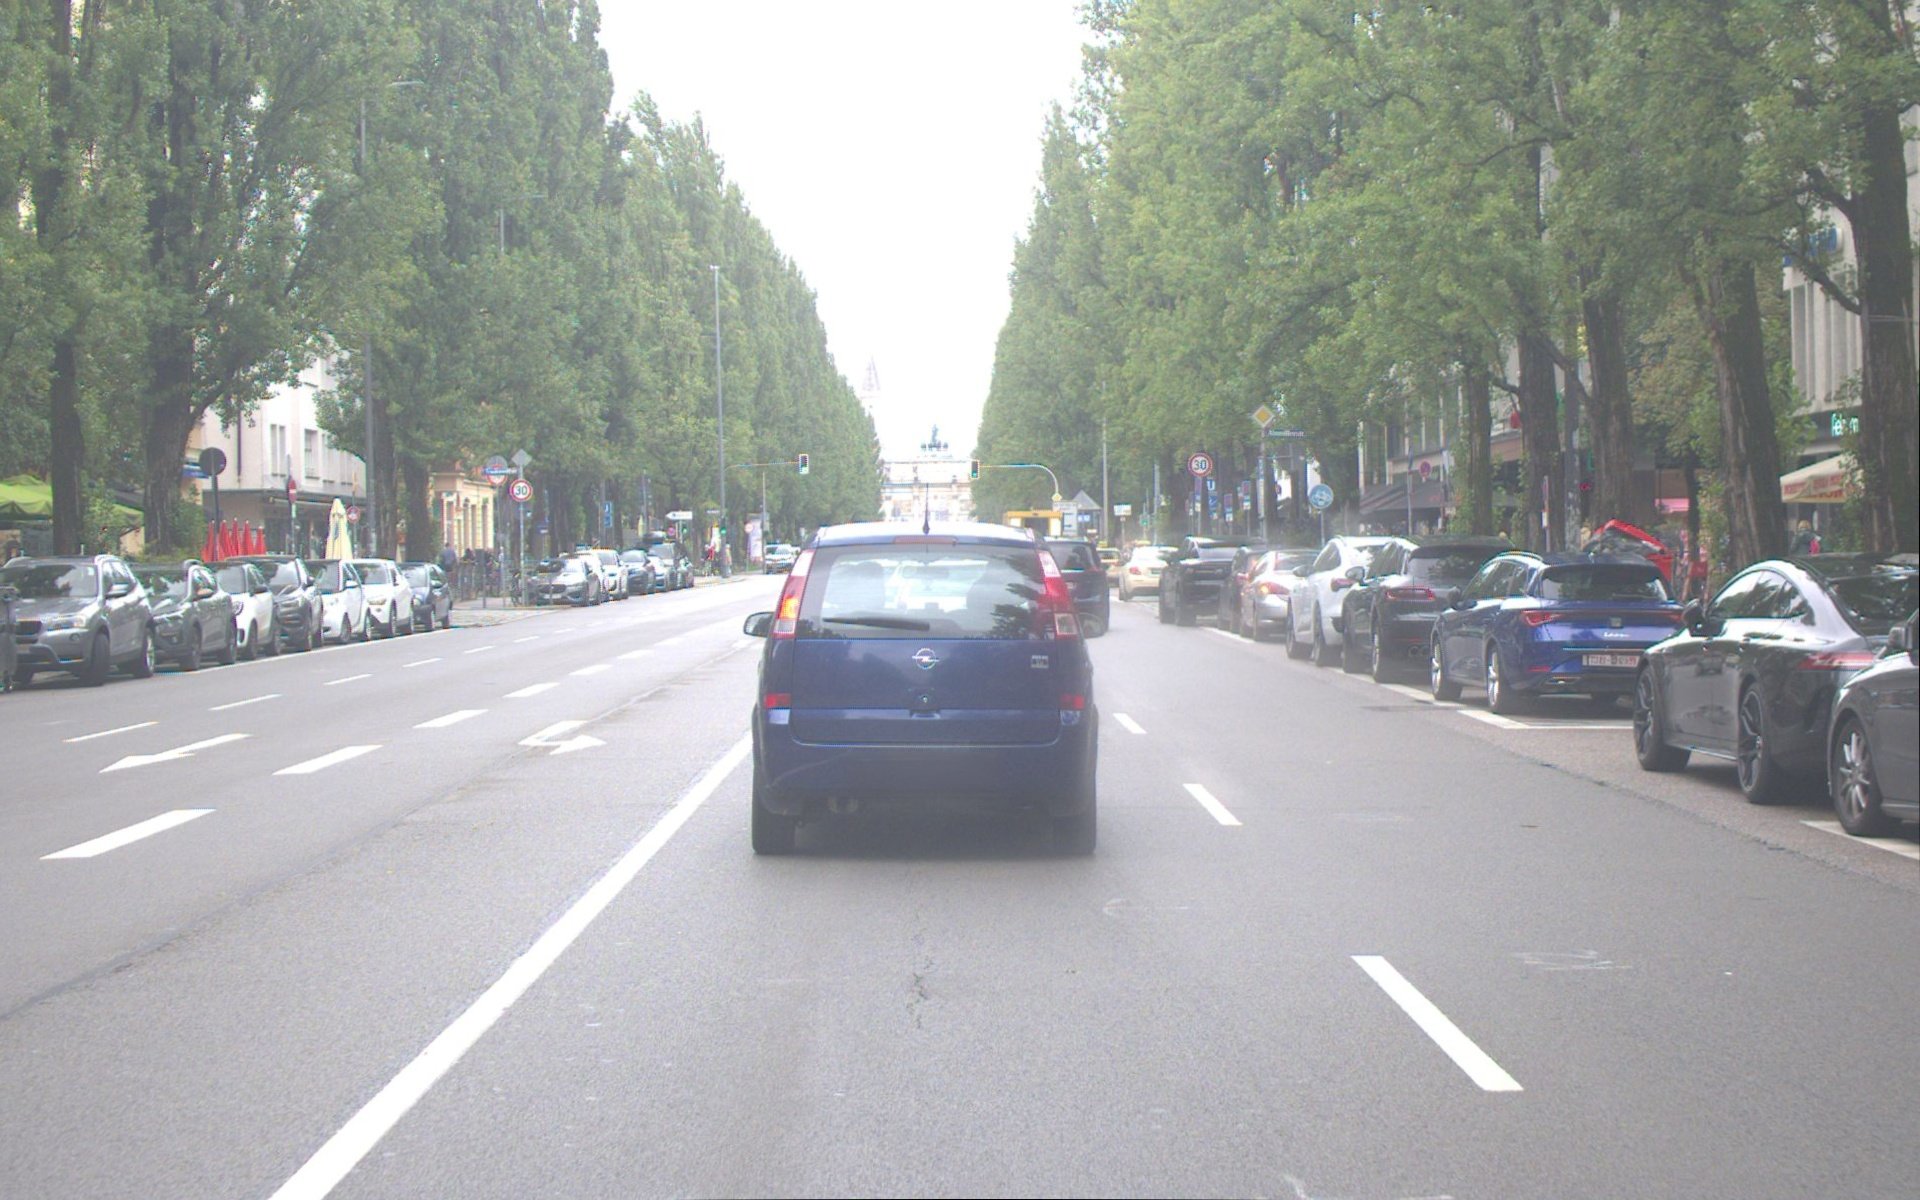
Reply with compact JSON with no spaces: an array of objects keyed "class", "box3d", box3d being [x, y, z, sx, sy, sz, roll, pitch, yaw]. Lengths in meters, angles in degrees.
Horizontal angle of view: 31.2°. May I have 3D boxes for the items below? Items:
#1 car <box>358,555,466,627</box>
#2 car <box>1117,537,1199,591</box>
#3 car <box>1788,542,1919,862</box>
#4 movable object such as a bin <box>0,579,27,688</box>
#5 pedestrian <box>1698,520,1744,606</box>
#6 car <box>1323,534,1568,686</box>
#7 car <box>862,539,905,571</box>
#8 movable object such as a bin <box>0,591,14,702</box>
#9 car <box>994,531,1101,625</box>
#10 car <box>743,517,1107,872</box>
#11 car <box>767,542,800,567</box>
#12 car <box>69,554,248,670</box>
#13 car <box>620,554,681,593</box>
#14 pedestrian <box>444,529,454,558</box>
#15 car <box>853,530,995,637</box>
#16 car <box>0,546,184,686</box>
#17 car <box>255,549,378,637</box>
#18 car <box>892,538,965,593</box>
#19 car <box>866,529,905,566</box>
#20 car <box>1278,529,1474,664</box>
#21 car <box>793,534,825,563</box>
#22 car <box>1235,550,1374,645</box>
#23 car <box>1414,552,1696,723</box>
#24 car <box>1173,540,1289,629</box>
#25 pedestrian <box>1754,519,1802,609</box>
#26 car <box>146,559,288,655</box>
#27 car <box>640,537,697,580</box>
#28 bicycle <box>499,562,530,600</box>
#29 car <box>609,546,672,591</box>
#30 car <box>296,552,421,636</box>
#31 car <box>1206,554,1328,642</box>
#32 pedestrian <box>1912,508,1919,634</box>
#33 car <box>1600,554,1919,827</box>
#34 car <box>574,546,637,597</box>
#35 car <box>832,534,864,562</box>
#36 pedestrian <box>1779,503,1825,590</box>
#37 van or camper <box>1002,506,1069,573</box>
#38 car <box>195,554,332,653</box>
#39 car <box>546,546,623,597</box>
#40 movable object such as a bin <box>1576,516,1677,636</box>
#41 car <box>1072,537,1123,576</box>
[{"class":"car","box3d":[-11.437,-0.204,71.896,1.586,1.442,3.390,-1,1,2]},{"class":"car","box3d":[5.209,-0.974,90.763,1.897,1.358,3.900,-1,1,0]},{"class":"car","box3d":[5.453,0.474,16.226,1.816,1.501,4.233,-1,1,-4]},{"class":"movable object such as a bin","box3d":[-12.178,0.415,42.006,1.313,1.312,0.819,-1,1,-1]},{"class":"pedestrian","box3d":[15.578,-0.755,70.382,0.727,1.745,0.860,0,0,0]},{"class":"car","box3d":[5.345,0.067,38.413,1.993,1.560,4.484,-1,1,-1]},{"class":"car","box3d":[-3.521,-2.092,158.850,1.961,1.394,3.779,-1,1,-1]},{"class":"movable object such as a bin","box3d":[-12.055,0.560,41.115,1.259,1.312,0.825,-1,1,-1]},{"class":"car","box3d":[1.505,-0.411,60.260,1.706,1.568,4.000,-1,1,-1]},{"class":"car","box3d":[-0.206,0.394,17.882,1.681,1.635,4.000,0,1,-1]},{"class":"car","box3d":[-11.242,-2.903,218.993,1.961,1.543,3.779,-1,1,-1]},{"class":"car","box3d":[-11.511,0.137,49.592,1.697,1.545,4.083,-1,1,-1]},{"class":"car","box3d":[-11.500,-0.998,127.931,1.961,1.394,3.779,-1,1,-1]},{"class":"pedestrian","box3d":[-19.524,-2.167,131.379,0.289,1.086,0.258,-1,1,5]},{"class":"car","box3d":[-0.557,-0.275,50.977,1.993,1.492,4.000,-1,1,-1]},{"class":"car","box3d":[-11.568,0.180,44.817,1.864,1.649,4.616,-3,1,-1]},{"class":"car","box3d":[-11.697,-0.146,62.605,1.573,1.528,2.922,-1,1,2]},{"class":"car","box3d":[-0.911,-0.974,96.586,1.993,1.492,4.000,-1,1,-1]},{"class":"car","box3d":[-3.568,-2.542,165.930,1.835,1.755,3.779,-1,1,-1]},{"class":"car","box3d":[5.219,-0.086,43.693,1.827,1.615,4.748,0,1,-1]},{"class":"car","box3d":[-9.303,-3.178,212.623,1.835,1.733,3.779,-1,1,-1]},{"class":"car","box3d":[5.353,-0.065,53.894,1.670,1.401,4.128,1,1,-1]},{"class":"car","box3d":[5.374,0.290,31.570,1.750,1.400,4.465,-1,1,-1]},{"class":"car","box3d":[4.996,-0.314,63.752,1.797,1.588,4.104,1,1,0]},{"class":"pedestrian","box3d":[14.779,-0.654,62.124,0.653,1.621,0.704,-1,1,-3]},{"class":"car","box3d":[-11.682,0.085,54.189,1.631,1.423,2.984,-1,1,-1]},{"class":"car","box3d":[-11.749,-1.683,138.752,1.993,1.656,4.000,-1,1,-1]},{"class":"bicycle","box3d":[-12.118,-0.516,93.536,0.665,1.002,2.462,-1,1,-4]},{"class":"car","box3d":[-11.363,-1.127,122.439,1.961,1.525,4.000,-1,1,-2]},{"class":"car","box3d":[-11.637,-0.139,66.721,1.835,1.541,4.087,-1,1,-2]},{"class":"car","box3d":[5.219,-0.057,58.837,1.681,1.410,3.583,1,1,-1]},{"class":"pedestrian","box3d":[14.006,-0.420,48.736,0.729,1.796,0.931,-1,1,0]},{"class":"car","box3d":[5.389,0.460,21.134,1.878,1.427,4.805,-1,1,-1]},{"class":"car","box3d":[-11.351,-0.923,110.213,1.654,1.556,3.458,-1,1,0]},{"class":"car","box3d":[-6.812,-3.169,209.925,1.835,1.671,3.779,-1,1,-1]},{"class":"pedestrian","box3d":[16.057,-1.023,65.598,0.653,1.621,0.704,-1,1,-3]},{"class":"van or camper","box3d":[2.950,-2.402,136.273,2.477,2.572,5.844,-1,1,0]},{"class":"car","box3d":[-11.739,0.033,58.162,1.840,1.560,4.180,-1,1,-6]},{"class":"car","box3d":[-10.821,-0.834,99.301,1.830,1.415,3.811,-1,1,0]},{"class":"movable object such as a bin","box3d":[9.646,-0.353,49.832,1.032,1.697,1.587,-1,1,-4]},{"class":"car","box3d":[5.017,-1.599,125.740,1.669,1.348,4.104,-1,1,0]}]
